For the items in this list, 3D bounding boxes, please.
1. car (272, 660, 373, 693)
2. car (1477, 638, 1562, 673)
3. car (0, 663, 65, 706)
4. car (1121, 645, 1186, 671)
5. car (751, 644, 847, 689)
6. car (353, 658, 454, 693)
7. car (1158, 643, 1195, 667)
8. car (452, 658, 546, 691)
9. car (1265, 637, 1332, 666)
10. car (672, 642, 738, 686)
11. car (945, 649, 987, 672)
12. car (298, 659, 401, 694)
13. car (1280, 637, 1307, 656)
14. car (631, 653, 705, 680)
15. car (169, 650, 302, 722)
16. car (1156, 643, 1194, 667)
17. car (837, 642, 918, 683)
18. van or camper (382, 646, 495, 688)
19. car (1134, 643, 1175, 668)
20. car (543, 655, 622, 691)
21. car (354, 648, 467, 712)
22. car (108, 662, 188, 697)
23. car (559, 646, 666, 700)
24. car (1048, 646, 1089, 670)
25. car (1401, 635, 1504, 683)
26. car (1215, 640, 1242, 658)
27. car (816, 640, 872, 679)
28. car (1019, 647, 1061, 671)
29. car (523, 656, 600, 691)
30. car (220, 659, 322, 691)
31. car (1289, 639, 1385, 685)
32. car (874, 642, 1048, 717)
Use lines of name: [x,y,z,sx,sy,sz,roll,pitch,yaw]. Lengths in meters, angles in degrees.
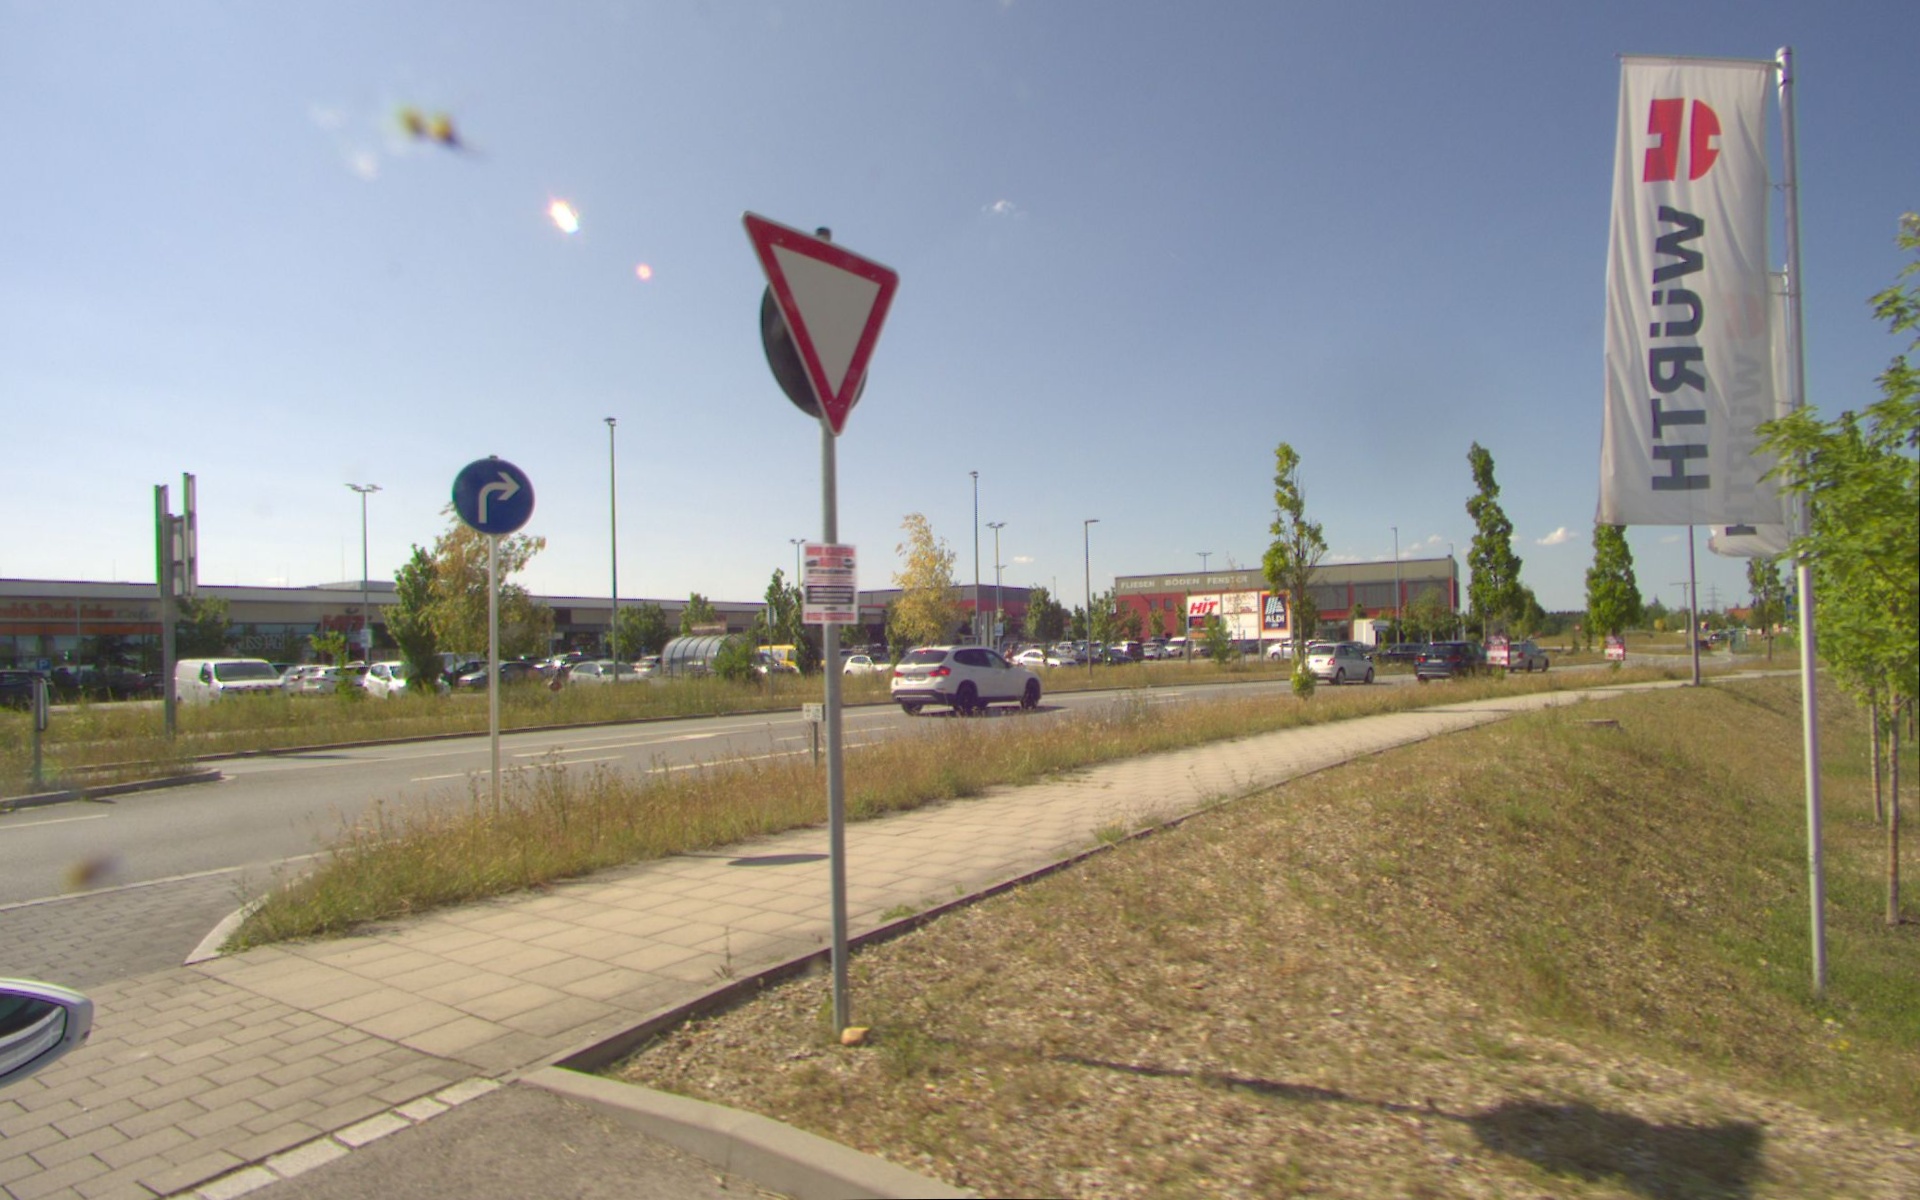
car: [-30.406,3.644,47.864,1.705,1.408,3.719,-3,-3,27]
car: [27.307,2.709,48.811,4.706,1.570,1.933,1,-4,-39]
car: [-36.232,3.177,37.451,1.707,1.527,3.789,-3,-3,30]
car: [14.193,4.262,73.789,1.977,1.783,4.452,1,-4,-39]
car: [-7.831,3.197,48.410,2.143,2.039,5.070,1,-3,-43]
car: [-25.284,3.423,45.579,1.705,1.408,3.719,-3,-3,27]
car: [19.537,4.908,90.222,1.971,2.063,4.466,-3,-3,30]
car: [-23.200,3.723,50.502,1.848,1.526,3.982,-3,-4,31]
car: [26.160,3.989,77.542,4.437,2.063,1.984,-4,-4,42]
car: [-17.188,4.294,67.786,1.968,2.856,4.473,-3,-3,24]
car: [0.613,5.668,93.863,1.971,2.063,4.466,-3,-3,30]
car: [-28.021,3.489,46.034,1.705,1.408,3.719,-3,-3,27]
car: [38.077,5.336,114.218,1.971,2.063,4.466,-3,-3,30]
car: [-17.693,4.009,60.849,1.632,1.538,4.329,-3,-4,32]
car: [-22.685,2.645,31.282,5.166,2.039,2.073,-3,-3,38]
car: [19.420,4.915,90.275,1.971,2.063,4.466,-3,-3,30]
car: [-4.324,3.235,52.010,1.925,2.038,4.371,1,-4,-43]
van or camper: [-27.721,3.535,53.384,1.972,2.039,5.027,-2,-3,32]
car: [16.528,4.695,84.974,1.971,2.063,4.466,-3,-3,30]
car: [-24.467,4.715,65.067,1.974,2.128,4.460,-3,-4,34]
car: [-19.474,2.789,35.374,5.065,2.039,2.145,-4,-3,44]
car: [-42.715,4.170,52.684,3.940,1.728,1.992,-3,-2,29]
car: [-14.384,2.978,41.257,5.065,2.039,2.145,-4,-3,44]
car: [9.718,5.136,89.205,1.971,2.063,4.466,-3,-3,30]
car: [17.778,2.103,36.081,4.345,1.570,1.897,1,-4,-43]
car: [31.792,5.763,118.486,1.971,2.063,4.466,-3,-3,30]
car: [-8.837,4.556,76.586,1.971,2.856,4.466,-3,-3,30]
car: [7.252,5.278,90.425,1.971,2.063,4.466,-3,-3,30]
car: [-26.550,4.865,66.800,1.974,2.149,4.460,-3,-4,34]
car: [-33.338,3.612,48.521,1.705,1.408,3.719,-3,-3,27]
car: [14.059,2.289,37.270,3.741,1.570,1.728,1,-4,-40]
car: [0.137,1.823,23.779,1.720,1.570,4.540,-4,-4,37]
